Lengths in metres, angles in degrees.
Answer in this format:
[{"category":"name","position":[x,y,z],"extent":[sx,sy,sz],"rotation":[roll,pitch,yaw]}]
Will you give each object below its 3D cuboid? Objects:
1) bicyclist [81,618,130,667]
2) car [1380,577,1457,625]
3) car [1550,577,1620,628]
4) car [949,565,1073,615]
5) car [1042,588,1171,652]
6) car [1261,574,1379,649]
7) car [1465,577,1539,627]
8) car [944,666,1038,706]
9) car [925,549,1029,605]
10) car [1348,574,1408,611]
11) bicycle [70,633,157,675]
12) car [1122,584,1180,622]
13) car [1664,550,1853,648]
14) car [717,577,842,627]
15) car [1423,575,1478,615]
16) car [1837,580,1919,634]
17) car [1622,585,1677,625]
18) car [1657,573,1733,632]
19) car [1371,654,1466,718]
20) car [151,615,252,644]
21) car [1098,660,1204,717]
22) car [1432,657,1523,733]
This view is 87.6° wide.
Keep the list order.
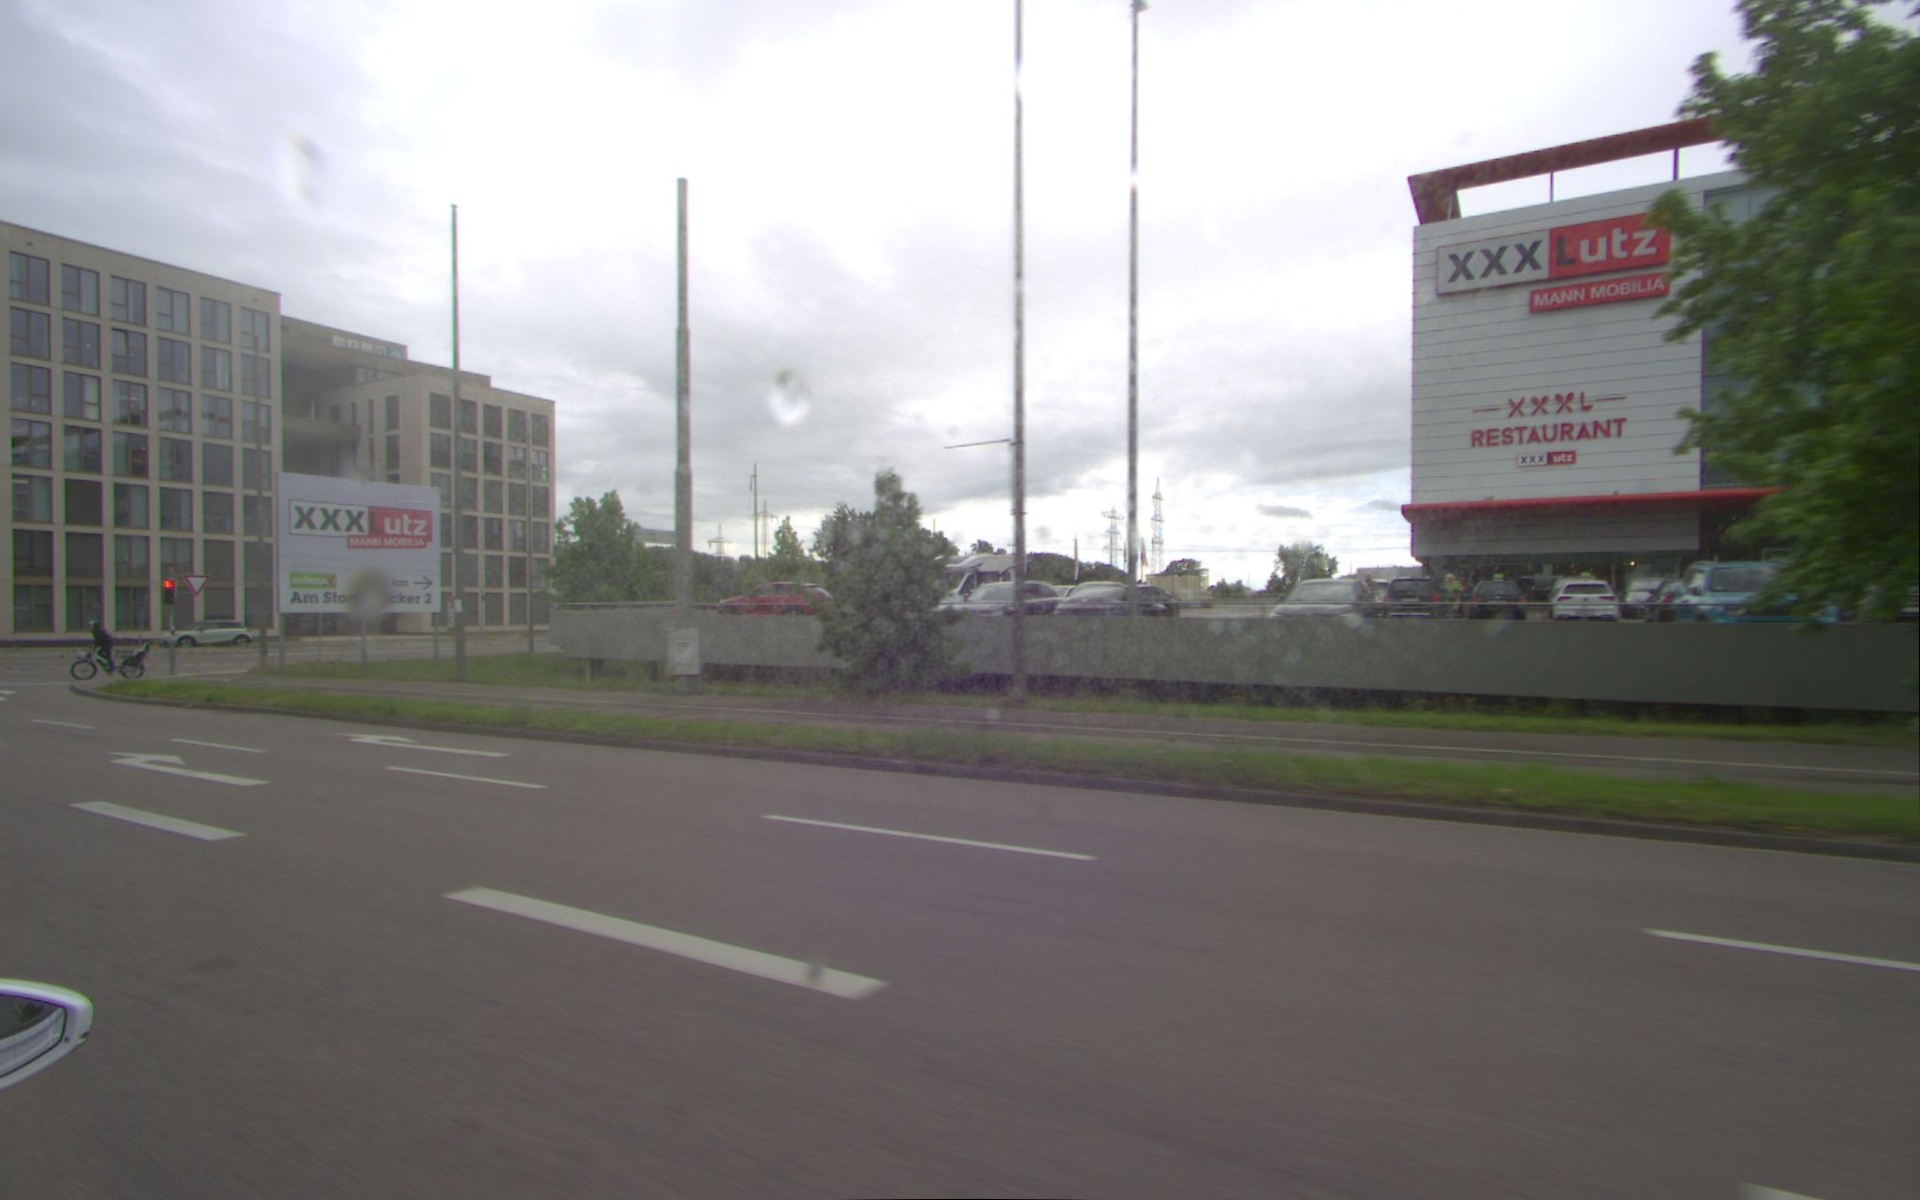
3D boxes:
[{"category":"bicyclist","position":[-27.224,1.356,31.907],"extent":[0.983,1.523,0.700],"rotation":[1,0,-20]},{"category":"car","position":[15.627,0.044,34.026],"extent":[1.759,1.528,3.833],"rotation":[1,0,34]},{"category":"car","position":[19.846,0.075,31.765],"extent":[1.758,1.528,3.834],"rotation":[1,0,33]},{"category":"car","position":[1.384,-0.231,26.000],"extent":[1.694,1.192,3.688],"rotation":[1,0,30]},{"category":"car","position":[3.578,0.465,23.930],"extent":[1.694,1.370,3.918],"rotation":[1,0,30]},{"category":"car","position":[7.617,0.234,20.952],"extent":[1.694,1.402,3.869],"rotation":[1,0,29]},{"category":"car","position":[17.806,0.066,32.820],"extent":[1.759,1.528,3.833],"rotation":[1,0,34]},{"category":"car","position":[1.223,3.248,38.330],"extent":[3.595,1.303,1.445],"rotation":[2,0,-42]},{"category":"car","position":[0.814,-0.945,43.967],"extent":[2.135,2.240,4.999],"rotation":[2,0,35]},{"category":"car","position":[18.500,-0.318,44.264],"extent":[1.677,1.515,3.623],"rotation":[2,0,35]},{"category":"bicycle","position":[-27.010,1.715,31.985],"extent":[1.977,1.312,0.700],"rotation":[1,0,-21]},{"category":"car","position":[7.210,0.121,37.531],"extent":[1.720,1.333,4.116],"rotation":[2,0,16]},{"category":"car","position":[14.139,0.003,17.999],"extent":[1.783,1.545,4.067],"rotation":[1,0,26]},{"category":"car","position":[-6.650,0.067,36.963],"extent":[4.189,1.702,1.836],"rotation":[2,0,20]},{"category":"car","position":[21.124,-0.192,43.048],"extent":[1.579,1.576,3.623],"rotation":[2,0,35]},{"category":"car","position":[25.688,0.209,27.623],"extent":[1.676,1.374,3.625],"rotation":[2,0,33]},{"category":"car","position":[27.316,0.214,39.671],"extent":[1.677,1.515,3.623],"rotation":[2,0,35]},{"category":"car","position":[21.921,0.086,29.954],"extent":[1.677,1.655,3.622],"rotation":[2,0,35]},{"category":"car","position":[11.629,2.093,25.247],"extent":[1.738,1.367,4.048],"rotation":[-1,-2,31]},{"category":"car","position":[-42.308,1.605,55.971],"extent":[1.668,1.510,4.189],"rotation":[2,0,28]},{"category":"car","position":[5.557,2.471,28.775],"extent":[1.738,1.367,4.049],"rotation":[-1,-2,30]},{"category":"car","position":[14.910,2.632,28.745],"extent":[1.972,1.856,4.359],"rotation":[-1,-2,32]}]
